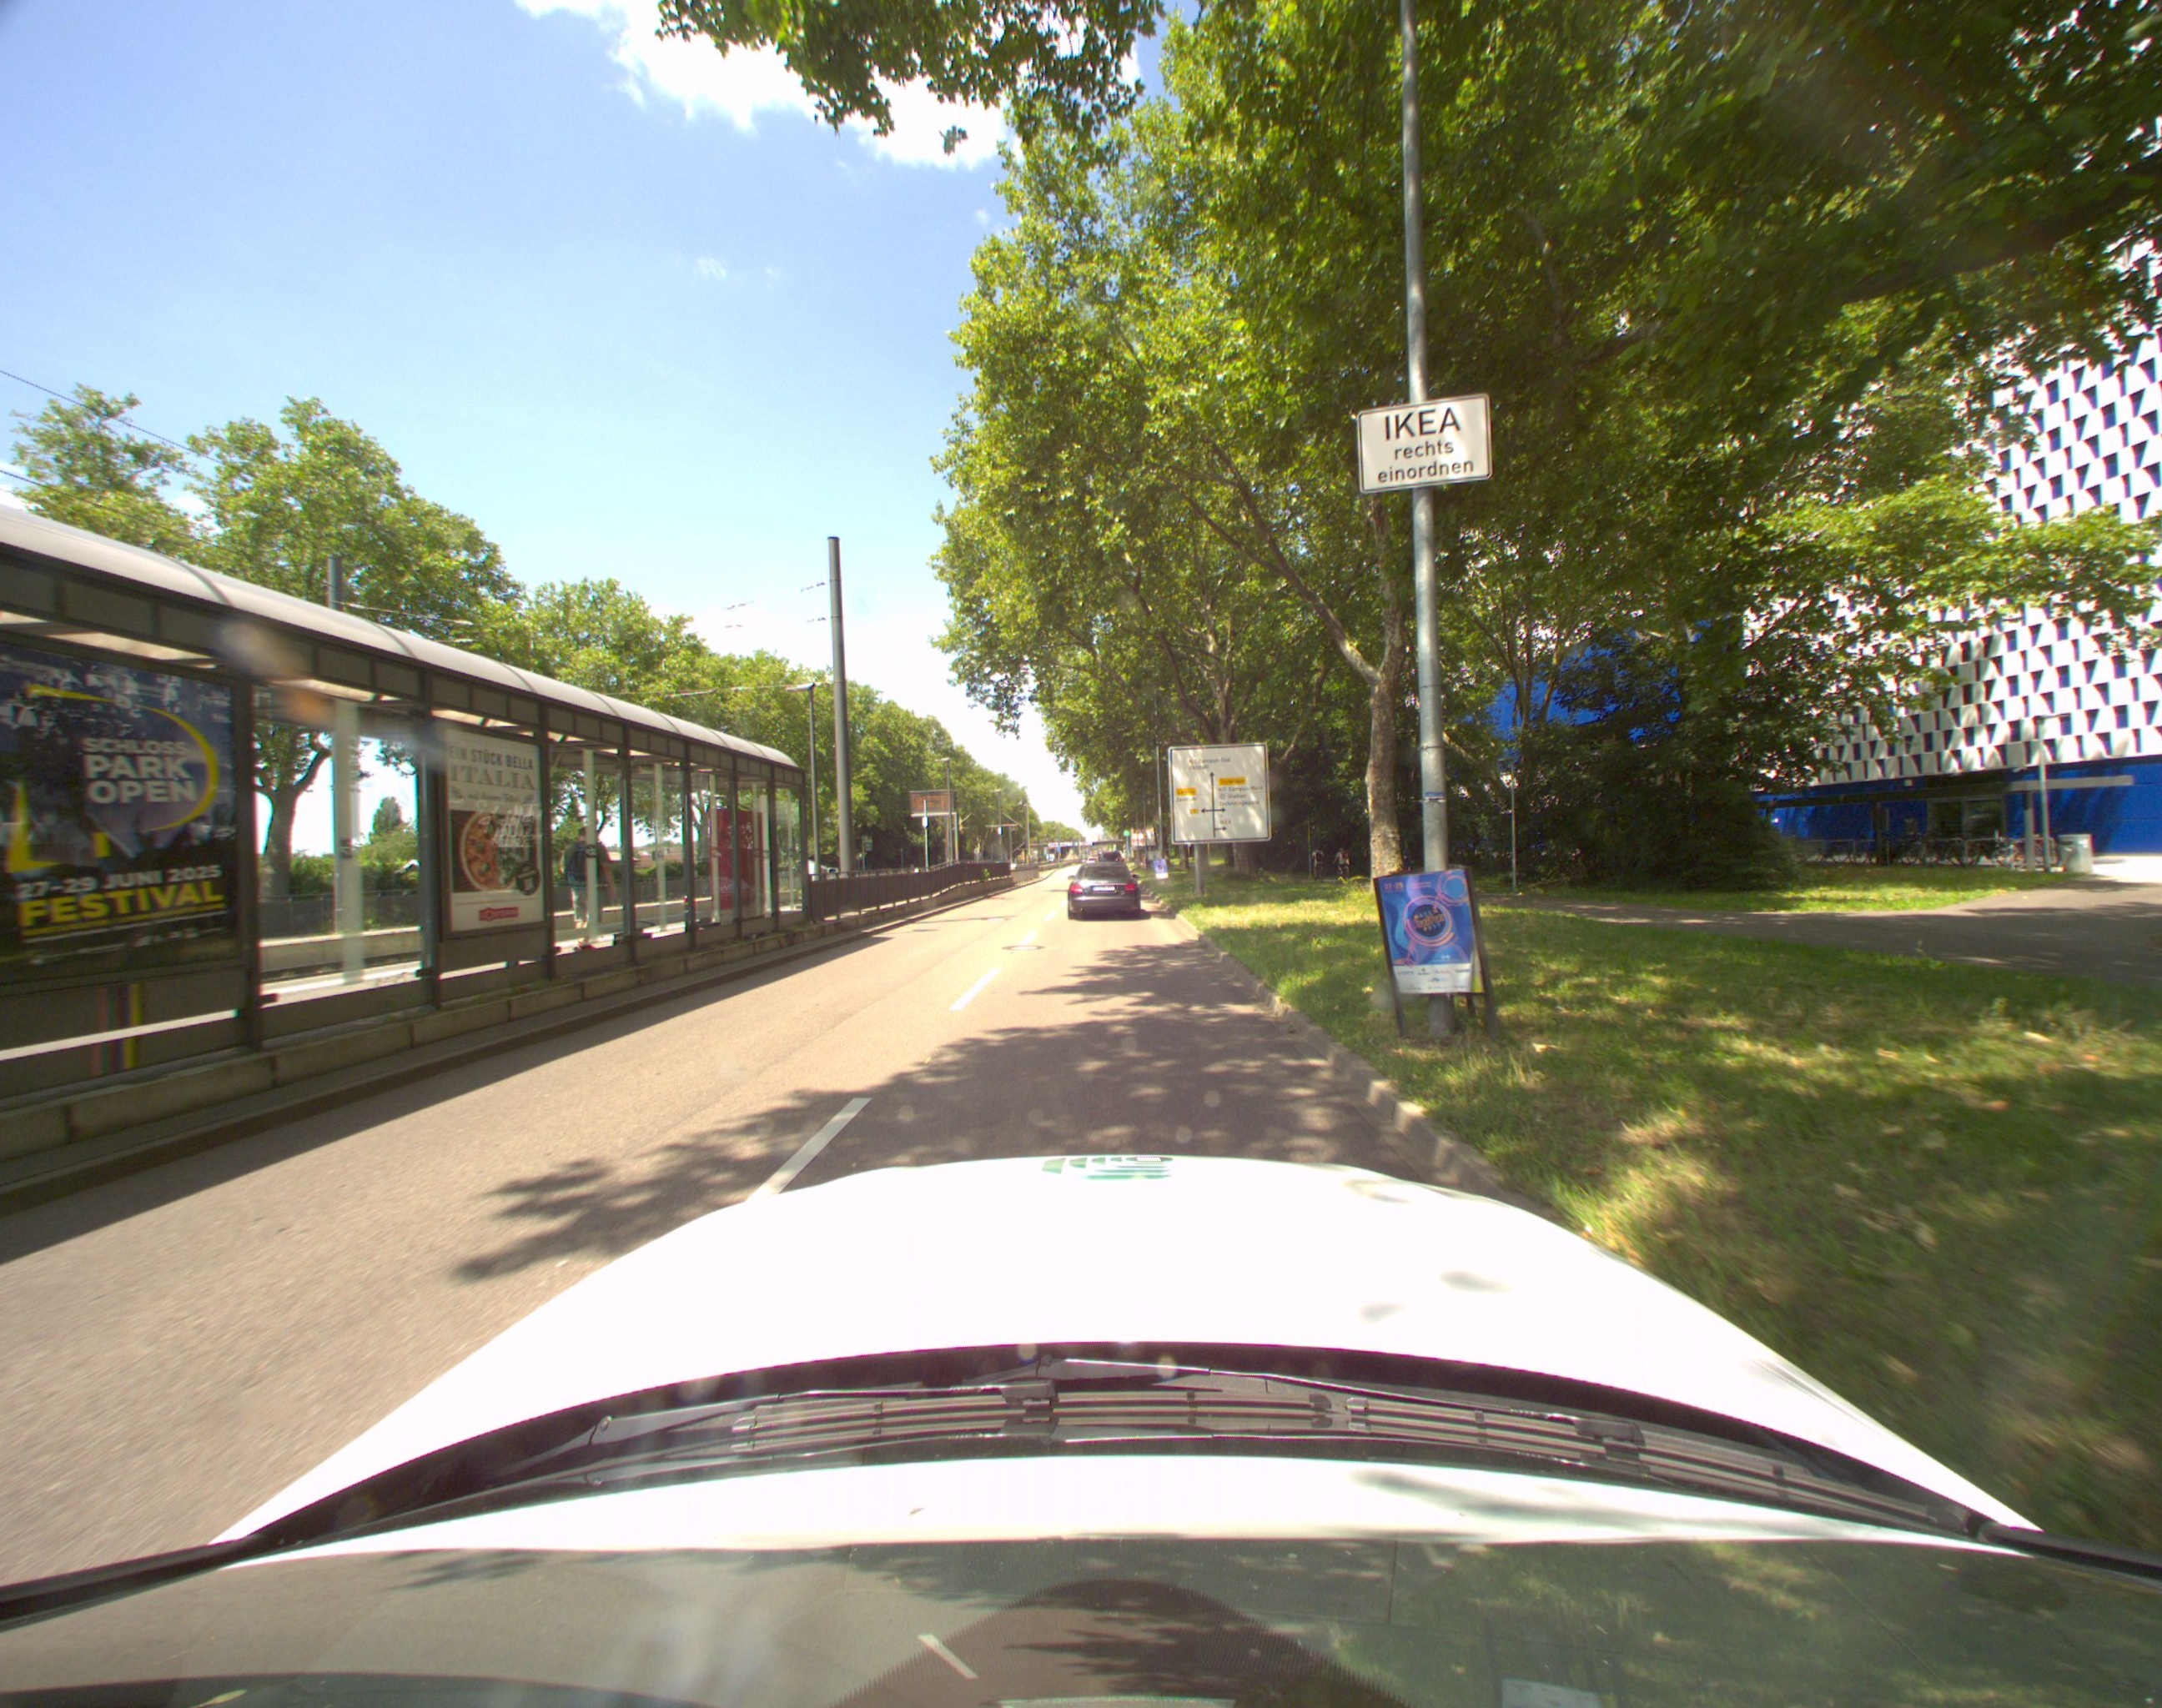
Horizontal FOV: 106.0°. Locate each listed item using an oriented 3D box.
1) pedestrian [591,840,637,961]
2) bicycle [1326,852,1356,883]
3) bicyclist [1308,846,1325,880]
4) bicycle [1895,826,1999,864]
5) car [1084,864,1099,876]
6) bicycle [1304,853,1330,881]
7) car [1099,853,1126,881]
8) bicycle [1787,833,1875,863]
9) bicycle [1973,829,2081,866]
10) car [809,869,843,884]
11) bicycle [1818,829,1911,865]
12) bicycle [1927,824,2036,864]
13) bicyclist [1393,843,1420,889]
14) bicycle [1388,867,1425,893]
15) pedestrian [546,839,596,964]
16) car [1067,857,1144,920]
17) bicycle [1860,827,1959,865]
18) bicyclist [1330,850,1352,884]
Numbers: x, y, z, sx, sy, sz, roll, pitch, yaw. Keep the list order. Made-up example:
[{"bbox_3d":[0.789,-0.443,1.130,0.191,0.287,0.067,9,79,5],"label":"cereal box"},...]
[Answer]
[{"bbox_3d":[-6.017,0.584,10.499,0.419,1.508,0.393,-2,0,-22],"label":"pedestrian"},{"bbox_3d":[12.326,0.615,38.672,0.608,1.420,2.662,-2,0,2],"label":"bicycle"},{"bbox_3d":[12.492,0.471,43.212,0.595,1.746,0.843,-1,0,2],"label":"bicyclist"},{"bbox_3d":[27.221,-0.277,25.603,2.539,1.110,0.758,-2,0,-3],"label":"bicycle"},{"bbox_3d":[1.292,1.955,100.860,1.839,1.464,3.999,-2,-1,0],"label":"car"},{"bbox_3d":[12.465,0.675,43.091,0.608,1.420,2.662,-2,0,2],"label":"bicycle"},{"bbox_3d":[2.382,0.924,60.389,1.840,1.959,4.149,-1,-1,4],"label":"car"},{"bbox_3d":[26.986,-0.223,29.309,2.539,0.970,0.758,-2,0,-3],"label":"bicycle"},{"bbox_3d":[27.019,-0.176,23.280,2.310,0.960,0.758,-2,0,-3],"label":"bicycle"},{"bbox_3d":[-28.432,2.494,90.792,3.316,1.475,1.649,-2,-1,-10],"label":"car"},{"bbox_3d":[26.907,-0.241,27.980,2.539,1.110,0.758,-2,0,-3],"label":"bicycle"},{"bbox_3d":[27.125,-0.291,24.552,2.539,1.110,0.758,-2,0,-3],"label":"bicycle"},{"bbox_3d":[11.817,0.435,29.570,0.620,1.610,0.817,-2,0,3],"label":"bicyclist"},{"bbox_3d":[11.787,0.923,29.551,0.642,0.887,2.025,-2,0,3],"label":"bicycle"},{"bbox_3d":[-6.356,0.582,10.159,0.419,1.508,0.393,-2,0,-22],"label":"pedestrian"},{"bbox_3d":[0.548,0.900,21.379,1.837,1.484,3.997,0,-2,-1],"label":"car"},{"bbox_3d":[27.126,-0.261,26.688,2.539,1.110,0.758,-2,0,-3],"label":"bicycle"},{"bbox_3d":[12.319,0.608,38.590,0.656,1.599,1.054,-2,-1,2],"label":"bicyclist"}]
